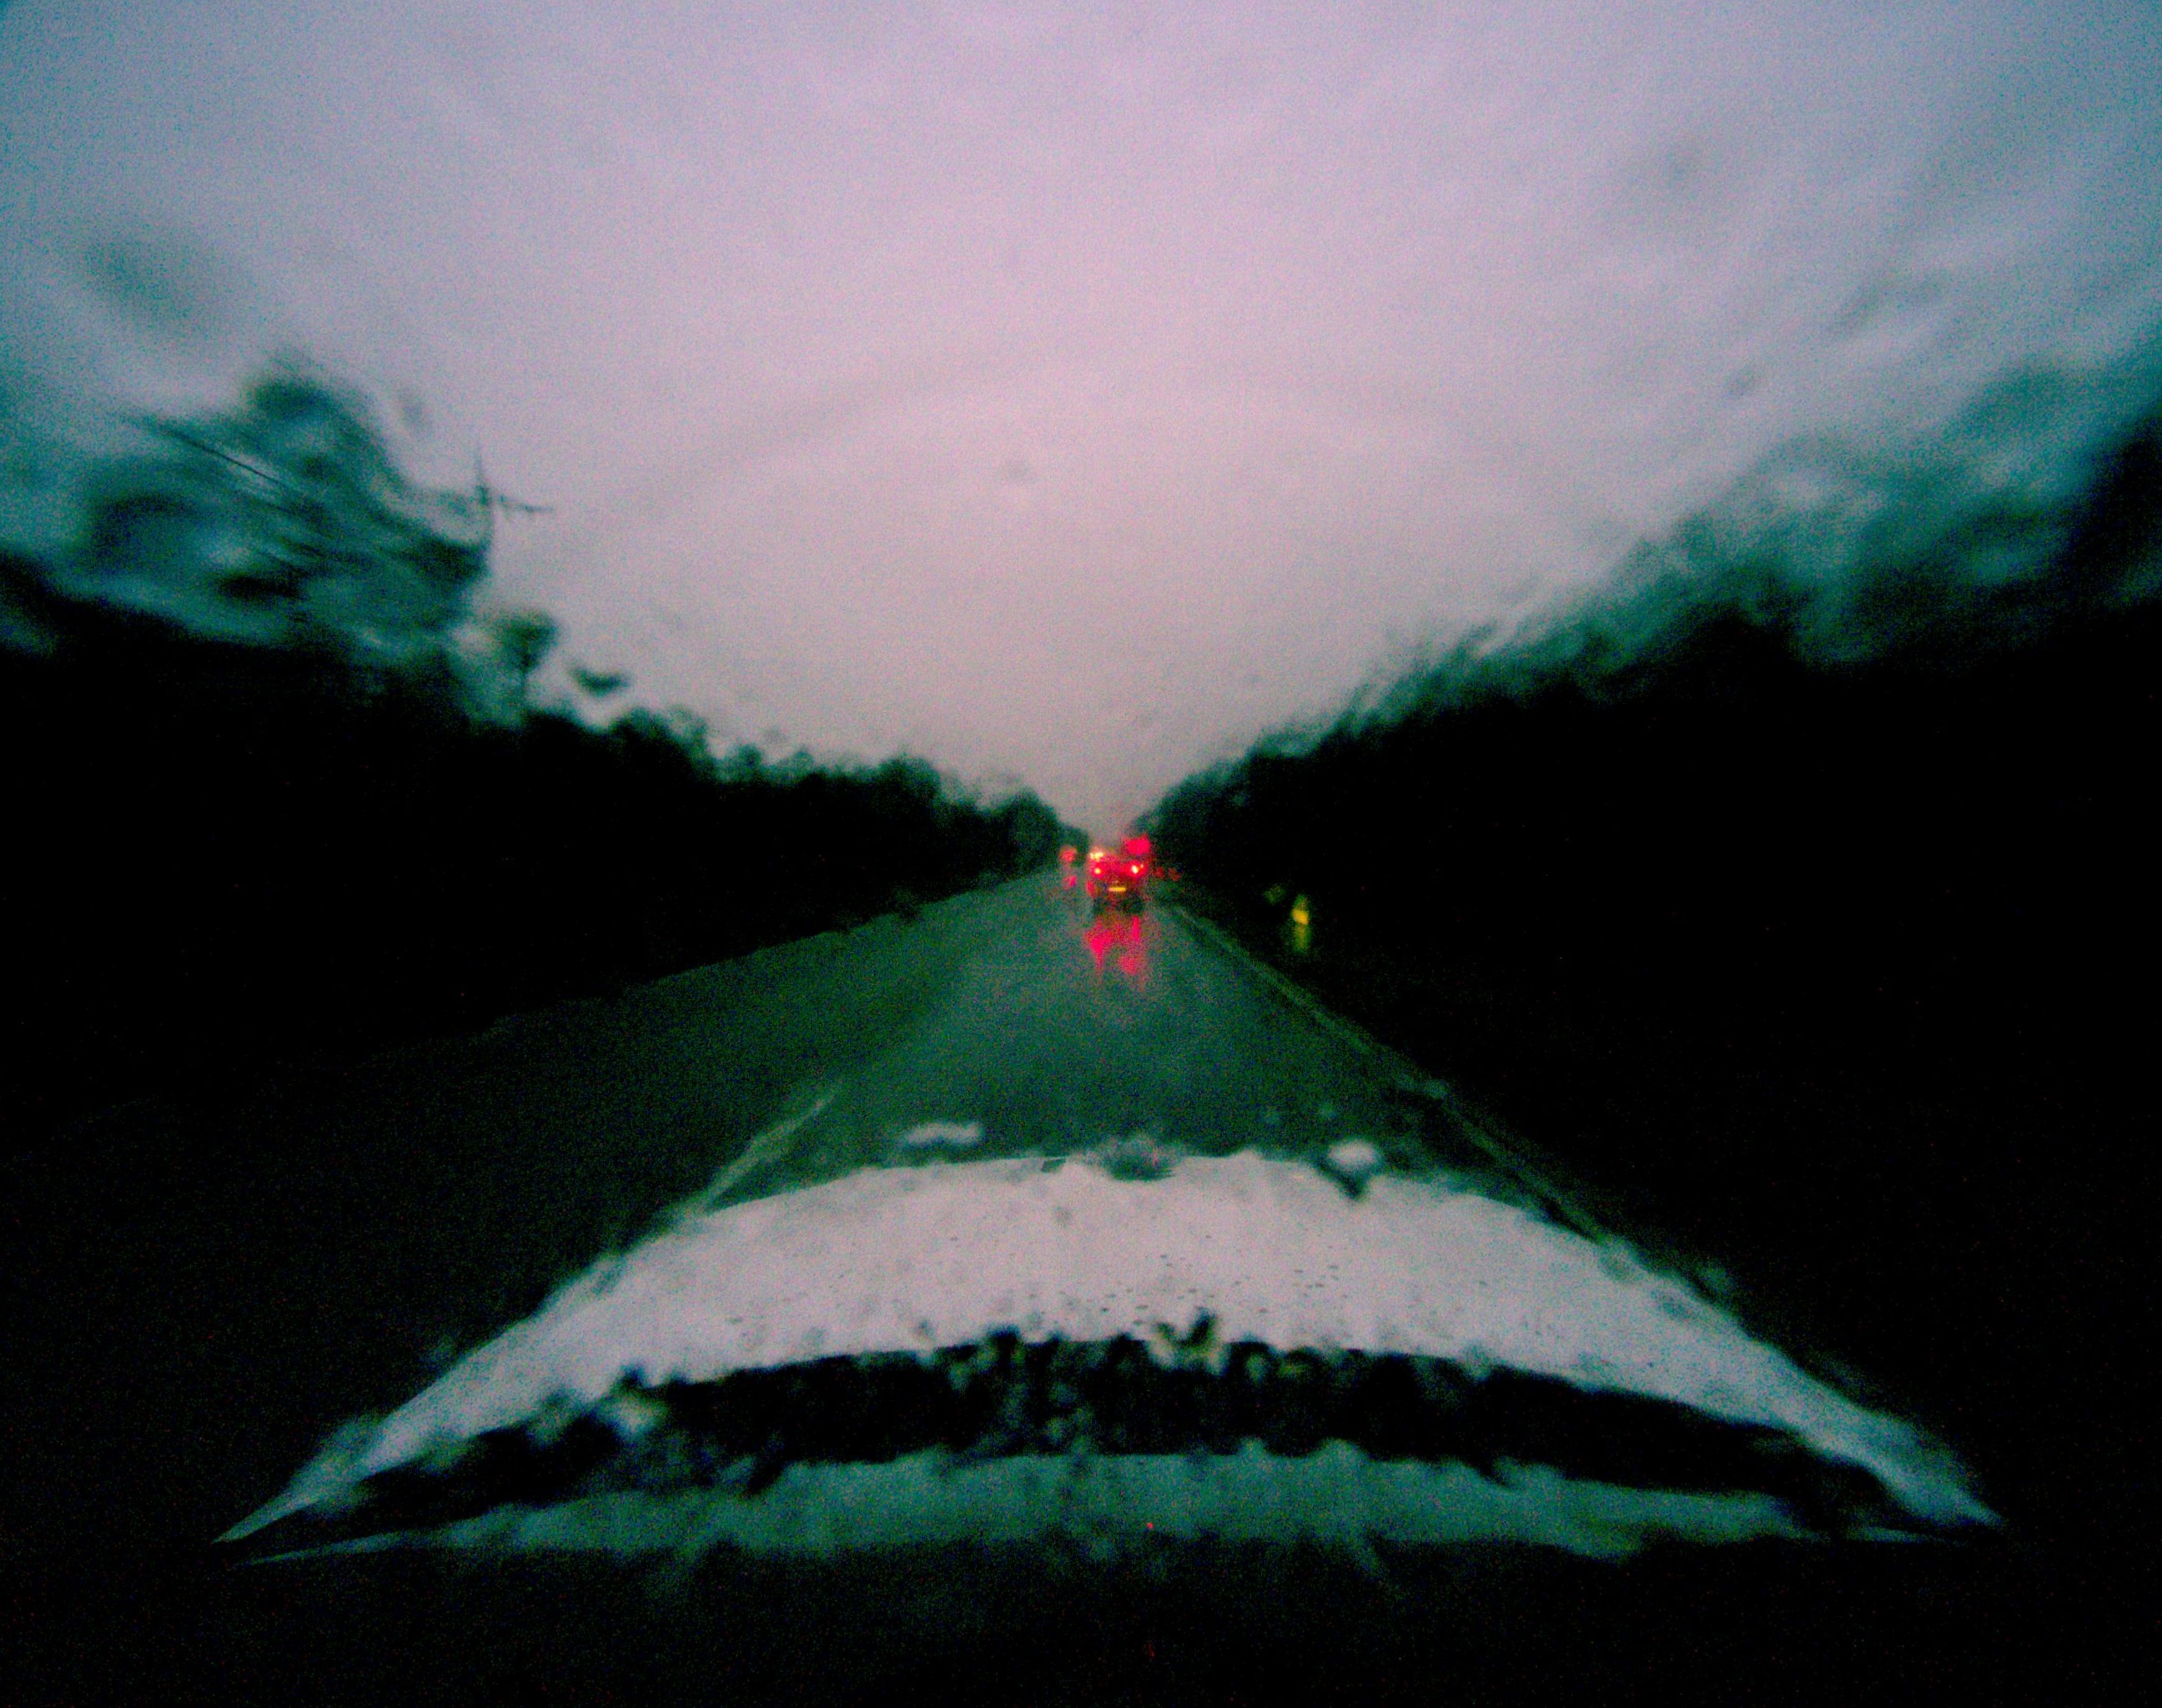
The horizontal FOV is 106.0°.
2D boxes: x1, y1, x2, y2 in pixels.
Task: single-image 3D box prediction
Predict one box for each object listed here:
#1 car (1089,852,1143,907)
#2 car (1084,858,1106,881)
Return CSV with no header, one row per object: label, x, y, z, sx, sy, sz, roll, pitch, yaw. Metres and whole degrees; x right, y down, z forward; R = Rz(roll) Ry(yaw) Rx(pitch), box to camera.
car,1.126,0.781,26.655,1.642,1.672,3.515,-1,0,2
car,1.193,1.265,66.856,1.727,1.779,4.001,-1,0,1
